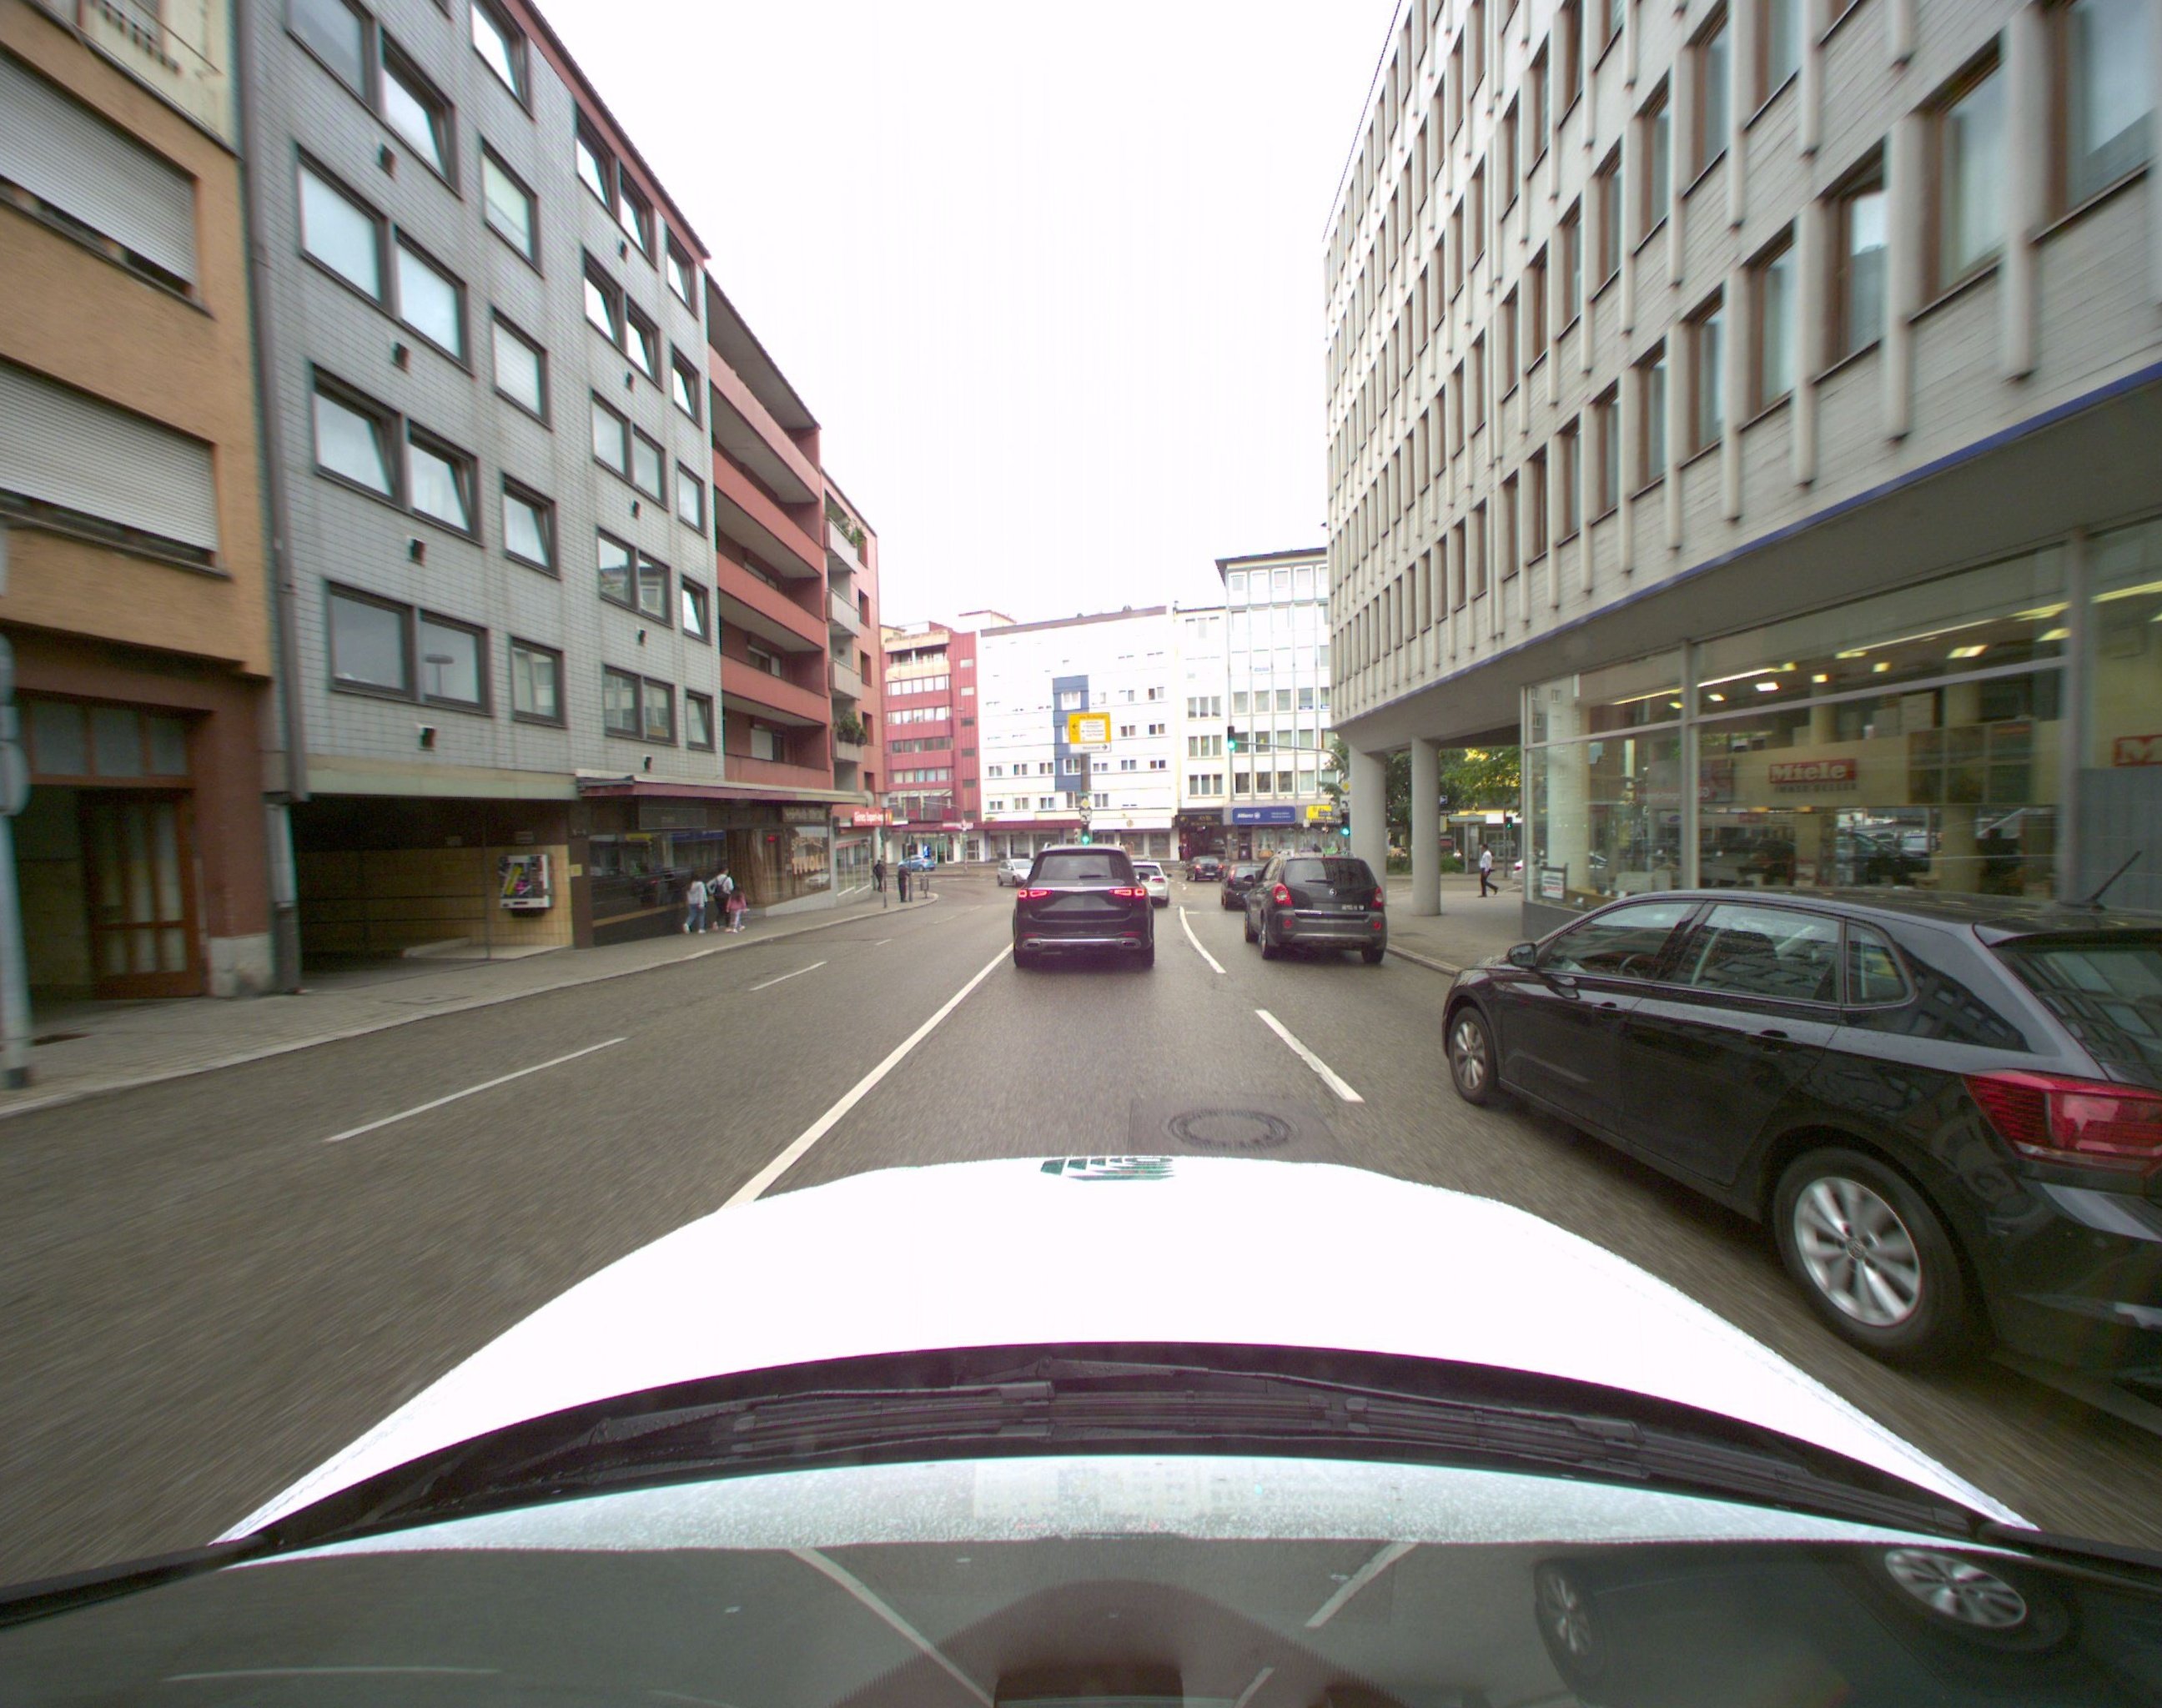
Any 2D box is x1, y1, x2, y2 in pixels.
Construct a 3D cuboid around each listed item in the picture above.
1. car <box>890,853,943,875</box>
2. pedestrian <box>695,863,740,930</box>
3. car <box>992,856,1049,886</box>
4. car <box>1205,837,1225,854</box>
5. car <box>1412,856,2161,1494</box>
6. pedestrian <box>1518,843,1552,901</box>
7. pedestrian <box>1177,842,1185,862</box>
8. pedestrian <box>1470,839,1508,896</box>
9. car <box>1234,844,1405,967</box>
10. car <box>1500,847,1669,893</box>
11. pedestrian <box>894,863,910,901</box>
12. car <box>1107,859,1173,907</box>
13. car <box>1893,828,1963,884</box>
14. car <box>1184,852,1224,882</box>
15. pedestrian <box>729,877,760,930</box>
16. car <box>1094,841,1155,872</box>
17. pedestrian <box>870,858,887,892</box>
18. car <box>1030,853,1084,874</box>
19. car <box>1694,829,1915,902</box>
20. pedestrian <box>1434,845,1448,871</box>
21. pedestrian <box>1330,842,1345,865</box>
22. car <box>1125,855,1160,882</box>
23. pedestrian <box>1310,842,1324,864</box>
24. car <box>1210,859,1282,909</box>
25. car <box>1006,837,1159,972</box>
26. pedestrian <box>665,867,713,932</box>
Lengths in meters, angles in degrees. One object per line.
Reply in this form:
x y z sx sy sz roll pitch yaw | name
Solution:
-14.653 0.903 72.563 4.124 1.838 2.011 2 -1 25 | car
-9.357 1.080 20.991 0.826 1.689 0.722 1 -1 -7 | pedestrian
-3.646 1.028 48.371 1.745 1.593 4.136 -3 -1 -29 | car
13.461 -0.811 81.498 1.785 1.670 4.012 -1 0 11 | car
3.235 0.786 3.902 1.682 1.477 4.000 2 0 1 | car
13.565 0.536 24.360 0.715 1.689 0.834 -4 -2 23 | pedestrian
8.613 -0.156 70.106 0.560 1.688 0.758 -1 5 8 | pedestrian
13.519 0.459 26.985 0.720 1.818 0.829 -3 -2 -4 | pedestrian
3.849 0.756 13.993 1.889 1.695 4.510 2 0 4 | car
17.760 0.566 28.874 4.791 1.494 1.868 -1 -1 43 | car
-8.127 1.249 36.953 0.552 1.697 0.623 -1 -1 -1 | pedestrian
2.110 0.919 28.019 1.862 1.495 4.411 0 0 9 | car
30.446 0.032 29.250 3.959 1.635 1.608 -6 4 -42 | car
7.273 0.775 48.503 1.816 1.658 4.497 1 -1 2 | car
-8.657 1.263 20.958 0.532 1.323 0.722 1 -1 -7 | pedestrian
3.278 0.204 63.192 2.255 2.228 5.378 1 -1 -28 | car
-11.091 1.151 44.620 0.764 1.848 0.837 -1 -1 -25 | pedestrian
-1.880 0.749 62.099 1.938 1.515 4.614 3 -2 -34 | car
21.377 0.362 24.401 4.744 1.998 1.973 -2 -1 37 | car
26.268 0.297 59.401 0.815 1.827 0.897 2 1 29 | pedestrian
20.461 -0.049 64.942 1.023 1.798 0.833 -1 6 11 | pedestrian
3.654 0.859 48.992 1.986 1.486 4.239 -1 0 2 | car
19.106 -0.096 66.052 1.023 1.688 0.833 -1 6 11 | pedestrian
5.242 0.909 26.306 1.759 1.397 4.004 3 0 4 | car
0.058 0.690 13.232 2.032 1.799 4.663 0 0 1 | car
-9.722 1.126 20.214 0.826 1.561 0.722 1 -1 -7 | pedestrian
